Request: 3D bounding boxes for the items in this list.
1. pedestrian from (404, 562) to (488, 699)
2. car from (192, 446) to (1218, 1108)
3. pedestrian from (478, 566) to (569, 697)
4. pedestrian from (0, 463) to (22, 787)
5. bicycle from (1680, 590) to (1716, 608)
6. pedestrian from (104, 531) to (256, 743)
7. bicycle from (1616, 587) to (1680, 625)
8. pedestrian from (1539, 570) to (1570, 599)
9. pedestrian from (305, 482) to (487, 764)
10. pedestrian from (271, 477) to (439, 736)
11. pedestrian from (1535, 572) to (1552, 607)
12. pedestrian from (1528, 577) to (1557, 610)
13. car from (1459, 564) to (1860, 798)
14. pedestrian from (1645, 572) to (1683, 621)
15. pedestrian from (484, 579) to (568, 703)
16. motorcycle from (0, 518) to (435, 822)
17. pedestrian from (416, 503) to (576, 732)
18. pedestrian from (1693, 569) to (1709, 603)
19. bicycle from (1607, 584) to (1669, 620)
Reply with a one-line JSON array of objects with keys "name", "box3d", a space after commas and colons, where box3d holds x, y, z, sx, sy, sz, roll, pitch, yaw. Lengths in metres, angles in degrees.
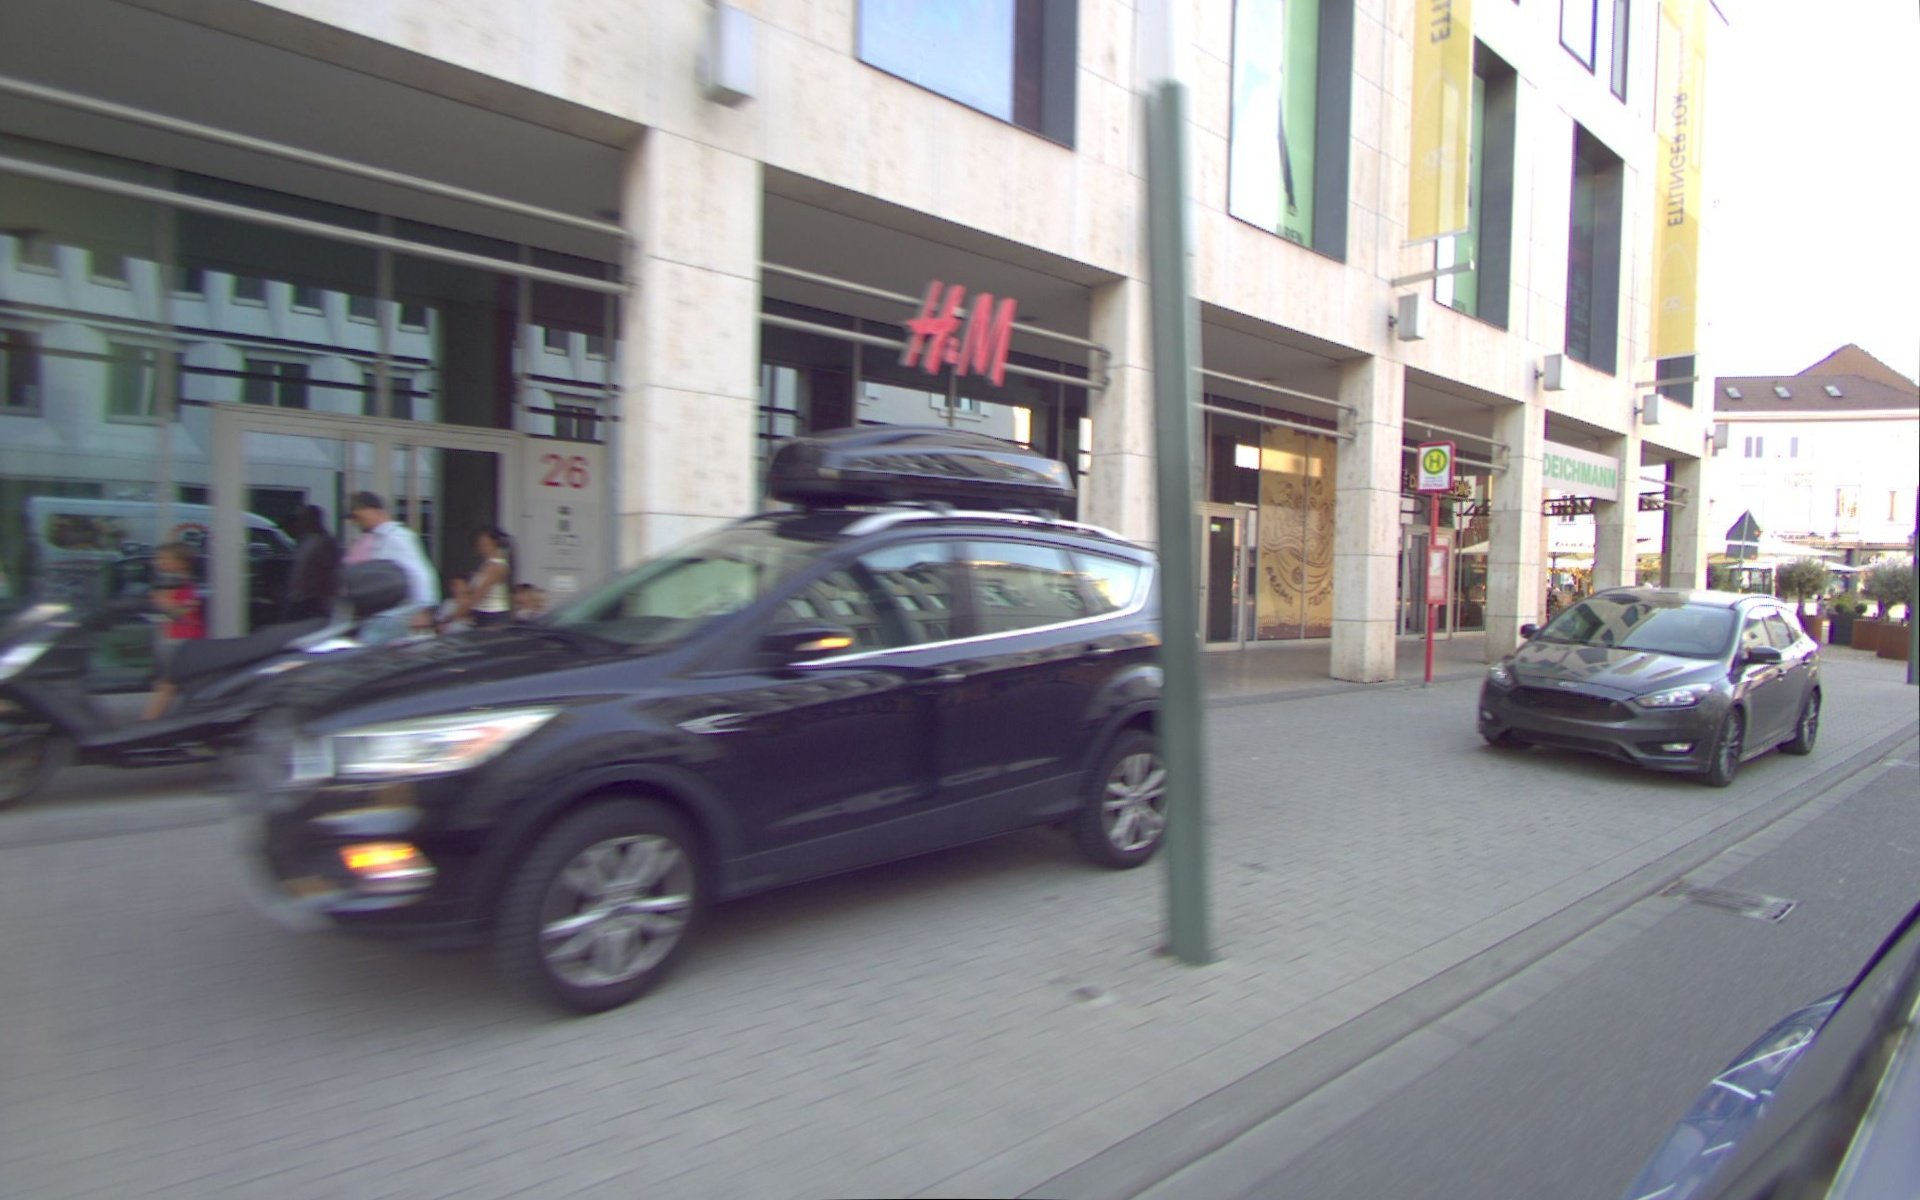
[{"name": "pedestrian", "box3d": [-4.331, 0.249, 8.532, 0.516, 1.111, 0.420, 2, 0, -41]}, {"name": "car", "box3d": [-0.849, 0.355, 4.460, 3.985, 1.657, 1.773, -1, 5, -40]}, {"name": "pedestrian", "box3d": [-3.900, 0.271, 9.043, 0.591, 1.111, 0.488, 2, 0, -41]}, {"name": "pedestrian", "box3d": [-5.488, 0.125, 5.404, 0.684, 1.719, 0.591, 0, 2, -42]}, {"name": "bicycle", "box3d": [40.856, -0.053, 56.039, 1.644, 0.945, 0.474, 1, 1, -2]}, {"name": "pedestrian", "box3d": [-5.392, 0.236, 6.998, 0.761, 1.362, 0.635, 2, 0, -41]}, {"name": "bicycle", "box3d": [22.706, 0.188, 33.390, 1.866, 1.142, 0.609, 3, 1, -15]}, {"name": "pedestrian", "box3d": [30.847, -0.792, 52.534, 0.926, 1.465, 0.973, 1, 1, -24]}, {"name": "pedestrian", "box3d": [-3.718, 0.135, 6.669, 0.861, 1.702, 0.766, 2, 0, -41]}, {"name": "pedestrian", "box3d": [-4.313, 0.040, 7.208, 0.861, 1.702, 0.766, 2, 0, -41]}, {"name": "pedestrian", "box3d": [30.164, -0.553, 52.340, 0.710, 1.769, 0.703, 2, 1, 28]}, {"name": "pedestrian", "box3d": [26.588, -0.296, 46.181, 0.847, 1.465, 0.725, 1, 1, -16]}, {"name": "car", "box3d": [6.327, 0.521, 8.987, 4.118, 1.508, 1.800, -1, 5, -40]}, {"name": "pedestrian", "box3d": [23.690, -0.111, 34.084, 0.699, 1.608, 0.751, 1, 1, -22]}, {"name": "pedestrian", "box3d": [-3.667, 0.338, 8.548, 0.516, 0.998, 0.420, 2, 0, -41]}, {"name": "motorcycle", "box3d": [-4.105, 0.318, 5.534, 2.097, 1.434, 0.694, 0, 2, -38]}, {"name": "pedestrian", "box3d": [-3.468, 0.117, 7.560, 0.861, 1.587, 0.766, 2, 0, -41]}, {"name": "pedestrian", "box3d": [40.968, -0.782, 55.938, 0.705, 1.840, 0.509, 0, 1, -38]}, {"name": "bicycle", "box3d": [23.155, 0.063, 34.564, 1.866, 1.142, 0.609, 3, 1, -15]}]
